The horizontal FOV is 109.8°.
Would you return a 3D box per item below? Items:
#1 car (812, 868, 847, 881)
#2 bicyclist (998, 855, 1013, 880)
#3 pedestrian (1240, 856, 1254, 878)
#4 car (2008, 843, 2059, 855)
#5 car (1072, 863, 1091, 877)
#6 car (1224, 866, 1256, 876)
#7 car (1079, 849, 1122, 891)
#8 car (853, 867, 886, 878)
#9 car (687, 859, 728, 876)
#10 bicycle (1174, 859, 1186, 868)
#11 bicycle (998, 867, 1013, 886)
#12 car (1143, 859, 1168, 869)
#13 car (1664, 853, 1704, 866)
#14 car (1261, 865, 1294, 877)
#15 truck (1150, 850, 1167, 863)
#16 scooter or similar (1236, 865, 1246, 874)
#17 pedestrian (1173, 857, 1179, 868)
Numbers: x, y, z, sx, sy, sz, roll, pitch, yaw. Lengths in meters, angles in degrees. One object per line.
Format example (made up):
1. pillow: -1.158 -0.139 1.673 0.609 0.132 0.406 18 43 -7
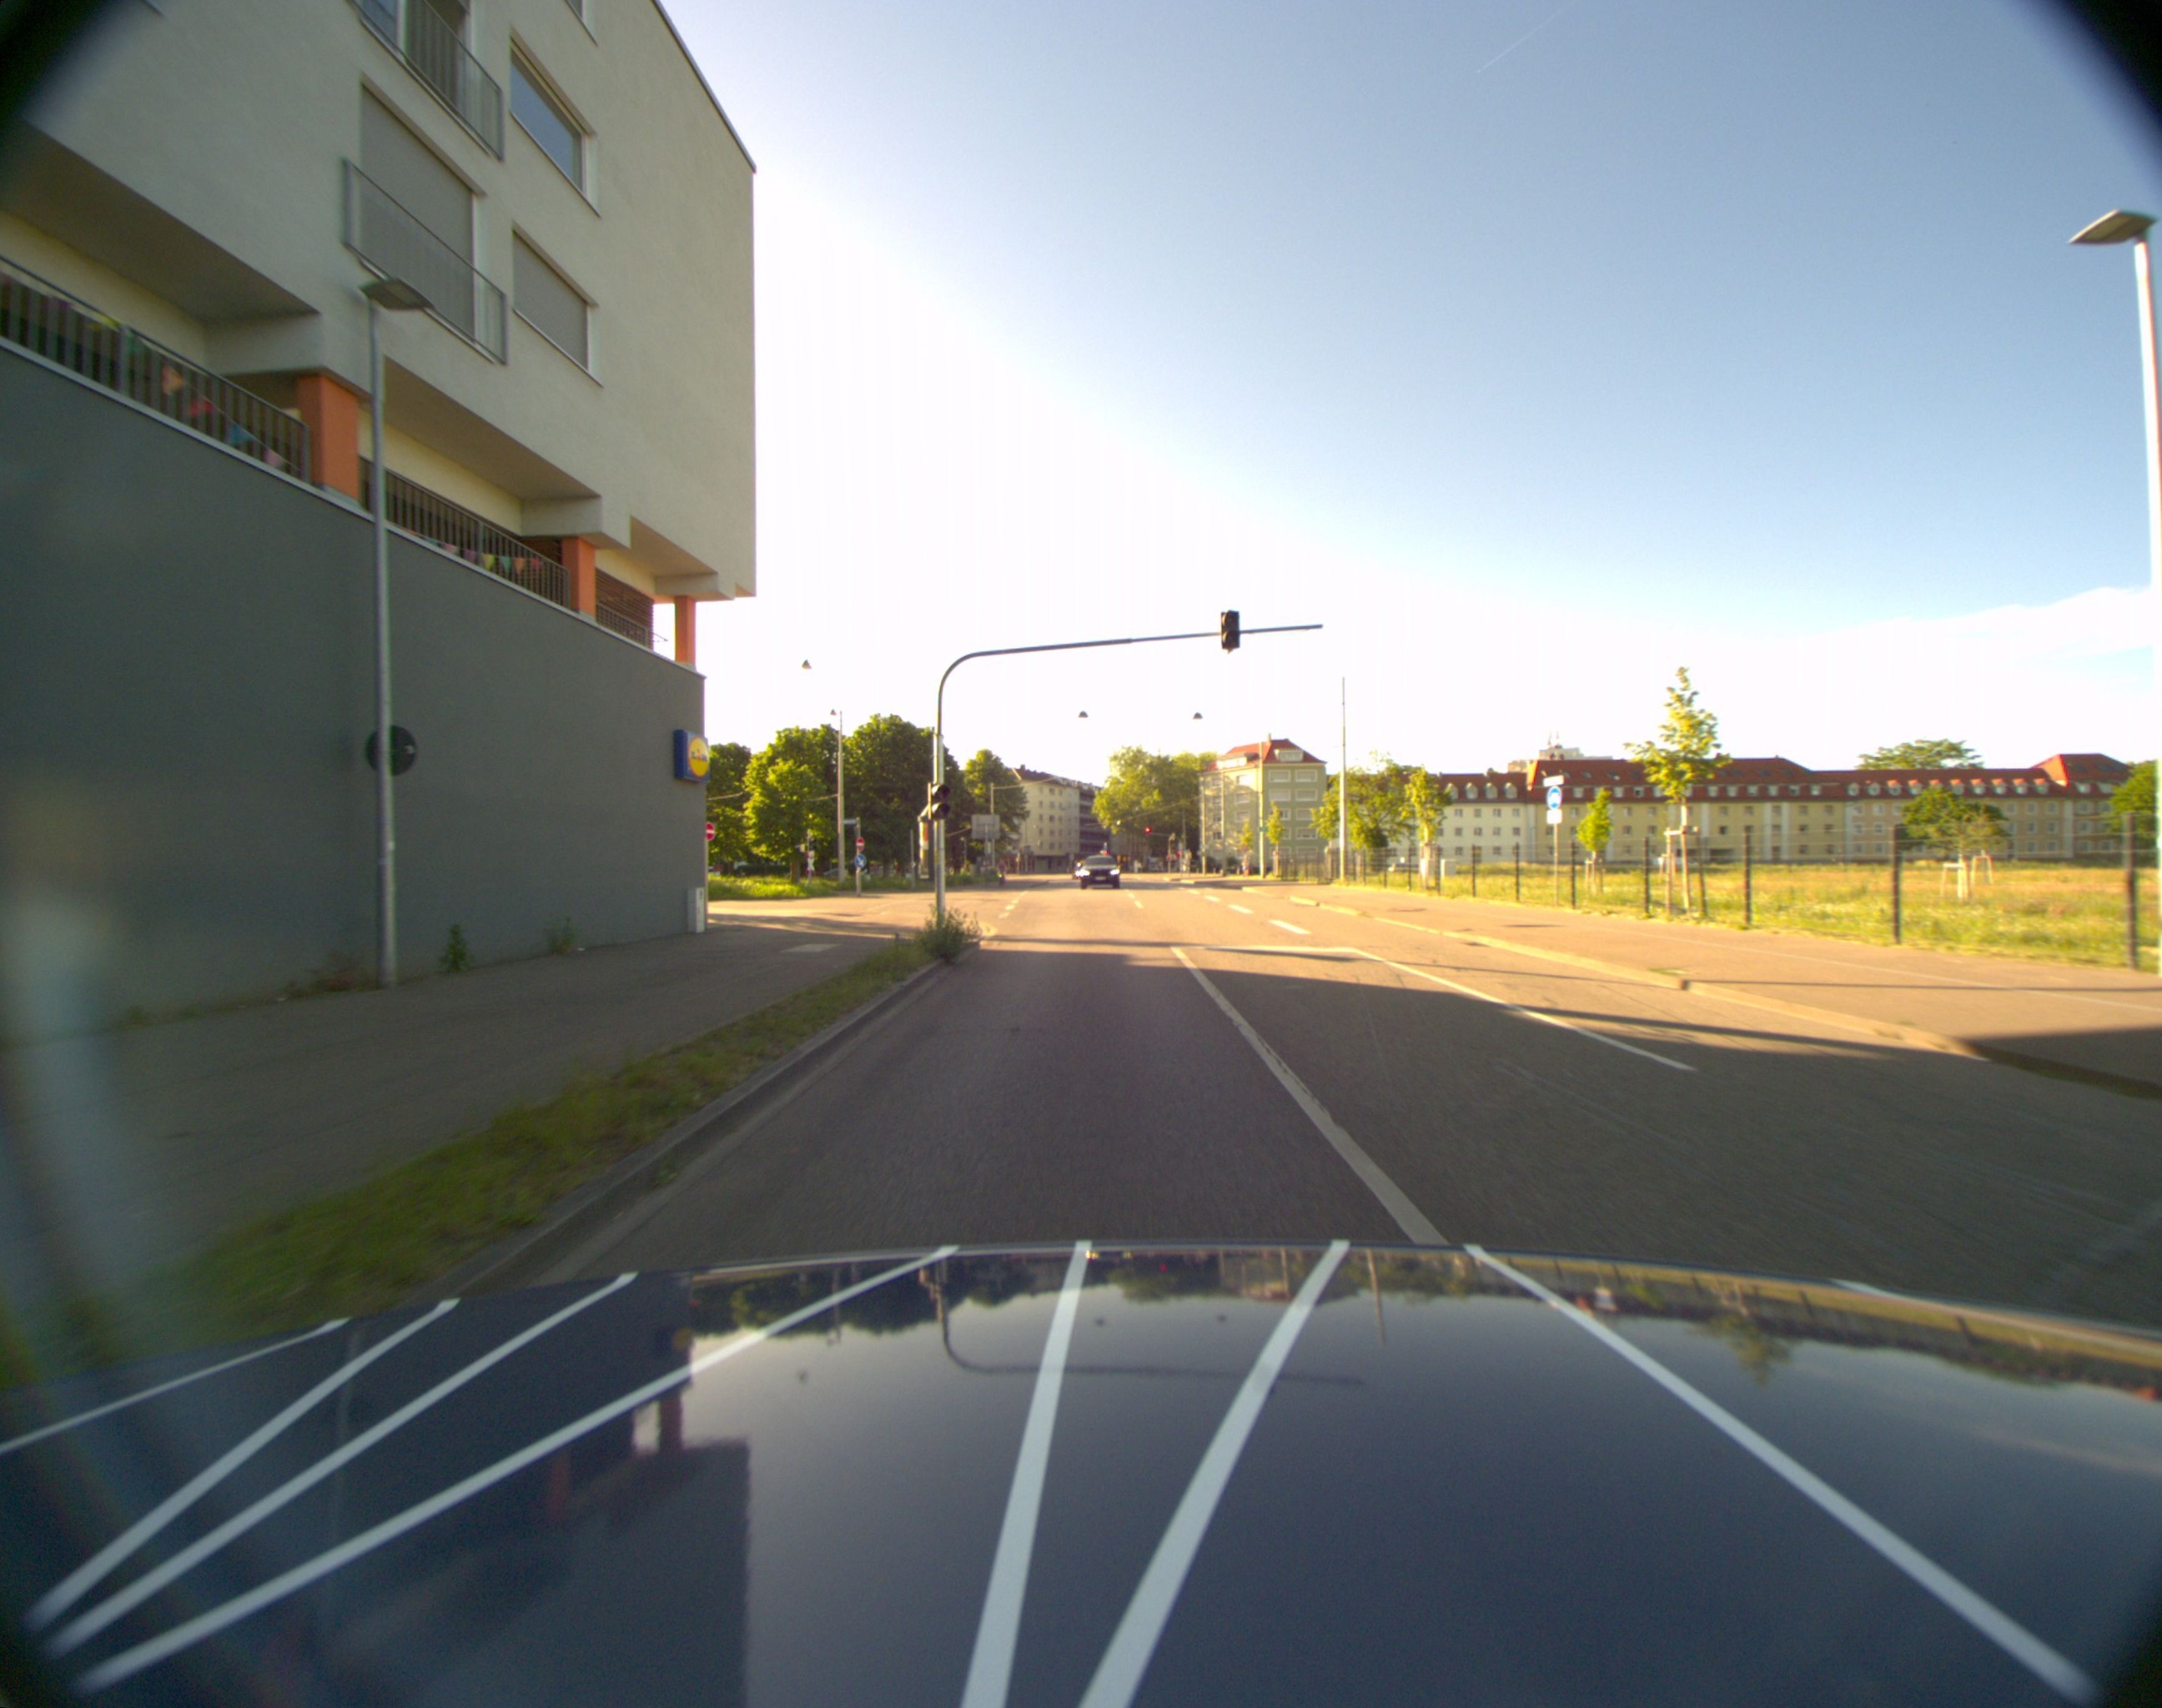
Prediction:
1. car: -35.525 2.887 107.512 4.194 1.707 1.994 -3 1 -44
2. bicyclist: -4.848 0.890 48.696 0.813 1.590 1.149 0 -1 1
3. pedestrian: 12.547 0.960 57.505 0.834 1.619 1.181 -2 0 4
4. car: 128.837 -0.679 102.787 4.203 1.484 1.943 0 -2 3
5. car: 0.019 1.759 83.303 1.702 1.432 3.645 -2 -1 -5
6. car: 22.528 2.418 108.061 4.203 1.484 1.943 0 -2 3
7. car: 0.917 0.739 38.368 1.941 1.922 4.523 -2 1 -1
8. car: -30.824 2.659 110.813 4.194 1.337 1.994 -3 1 -44
9. car: -47.996 1.760 97.682 4.341 1.953 1.905 -3 1 -43
10. bicycle: 16.884 1.671 129.684 2.047 1.454 0.727 1 3 30
11. bicycle: -4.835 1.425 48.608 0.720 1.185 2.001 0 -1 1
12. car: 13.565 1.824 138.305 4.140 1.631 1.777 -2 1 23
13. car: 78.802 0.713 99.281 3.899 1.520 1.701 0 -4 -1
14. car: 26.035 2.271 100.712 3.899 1.520 1.701 0 -4 -1
15. truck: 19.901 0.688 195.000 2.339 2.955 8.042 -2 1 20
16. scooter or similar: 20.220 1.953 96.172 0.593 1.137 1.270 0 -5 42
17. pedestrian: 16.349 1.442 131.188 0.695 1.952 0.929 -2 1 31
